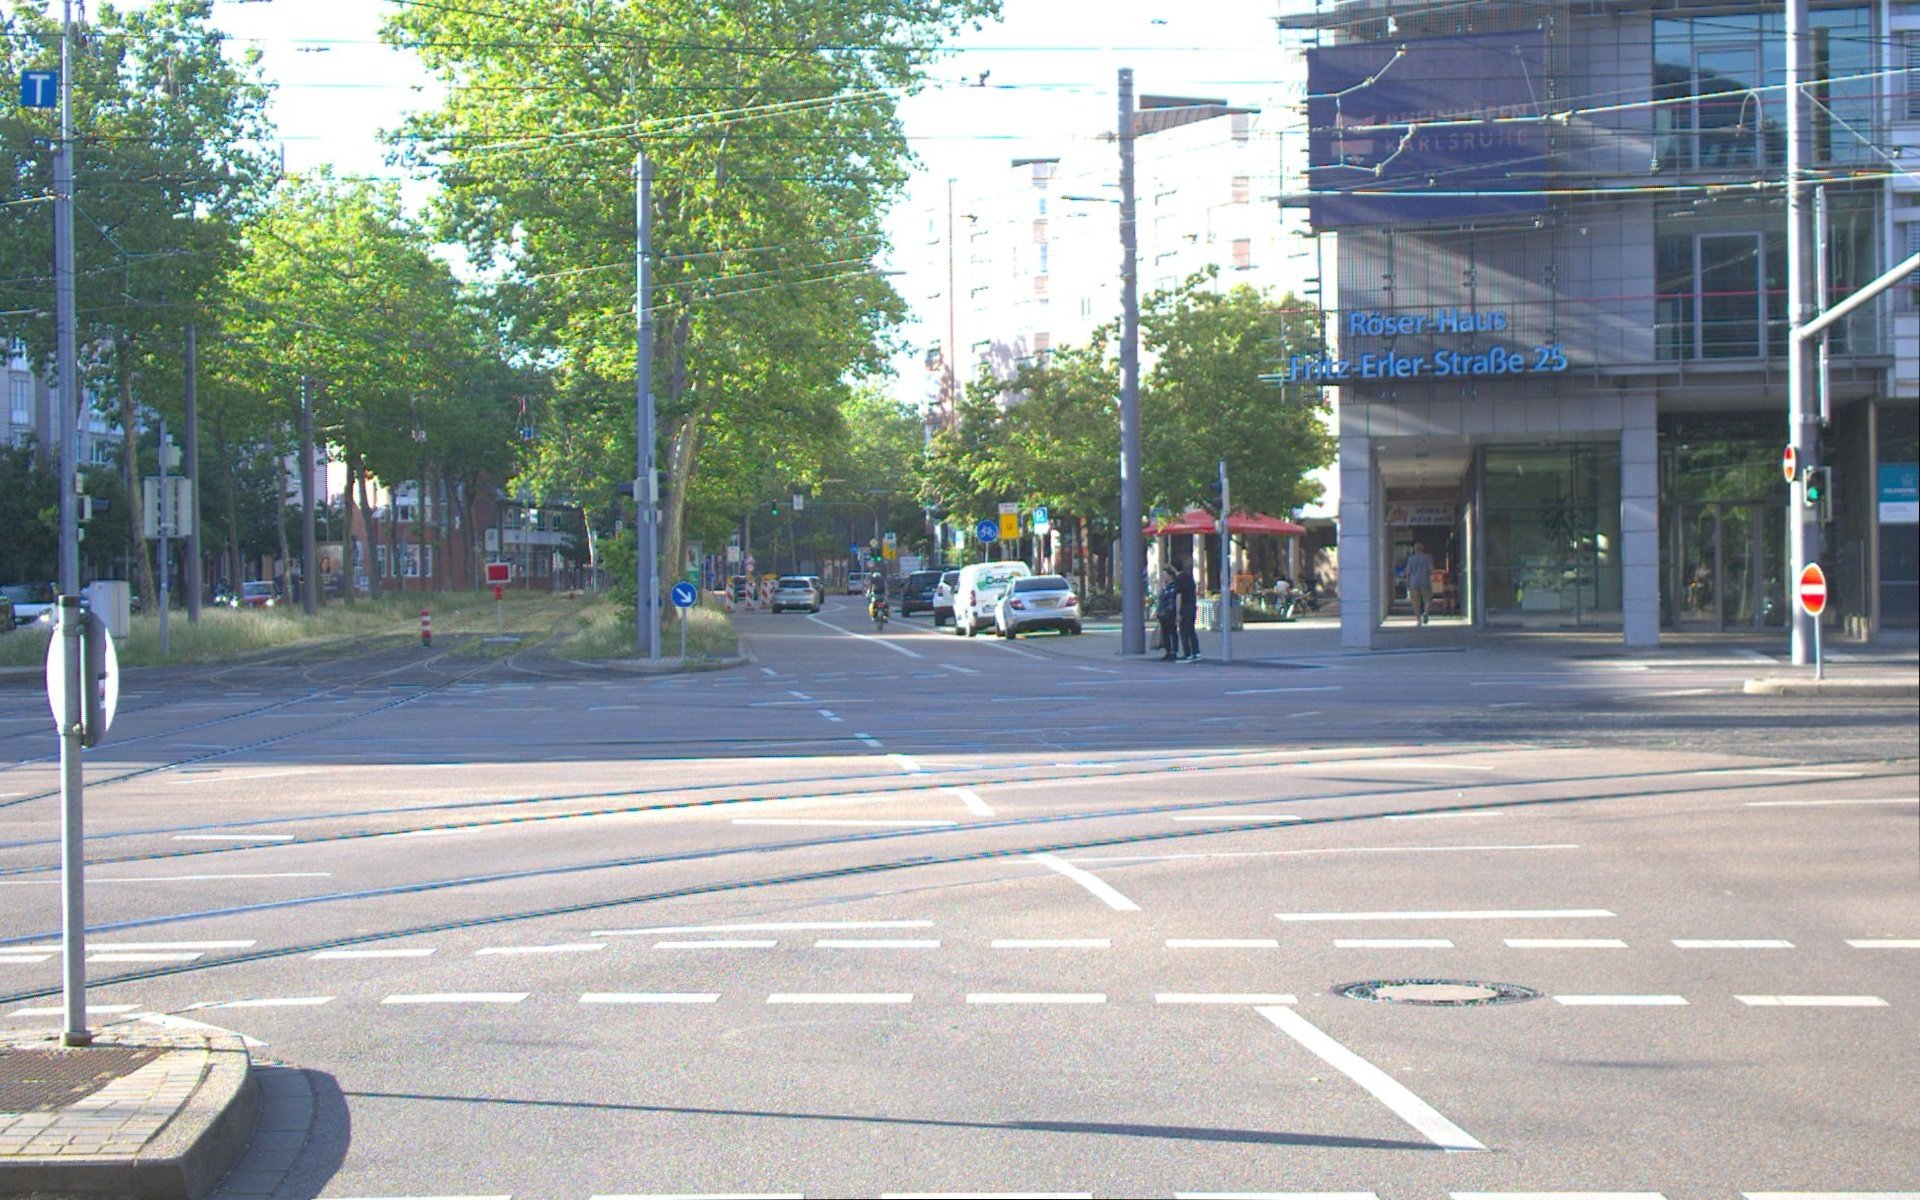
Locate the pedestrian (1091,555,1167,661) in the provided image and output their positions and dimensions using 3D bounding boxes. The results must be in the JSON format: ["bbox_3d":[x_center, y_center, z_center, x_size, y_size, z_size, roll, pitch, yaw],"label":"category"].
[{"bbox_3d":[3.129,0.144,63.838,1.342,1.944,1.011,-1,0,0],"label":"pedestrian"}]

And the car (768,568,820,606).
[{"bbox_3d":[-6.559,-0.535,136.232,1.748,1.413,4.000,0,1,2],"label":"car"}]

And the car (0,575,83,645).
[{"bbox_3d":[-21.823,0.223,81.038,1.676,1.602,4.001,1,0,-7],"label":"car"}]

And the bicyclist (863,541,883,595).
[{"bbox_3d":[-2.396,-0.882,94.523,0.486,1.434,0.615,2,1,0],"label":"bicyclist"}]

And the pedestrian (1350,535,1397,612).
[{"bbox_3d":[11.962,-0.766,99.495,1.313,2.182,1.170,1,0,6],"label":"pedestrian"}]

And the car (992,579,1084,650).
[{"bbox_3d":[1.811,0.333,81.043,2.029,1.590,4.000,1,0,0],"label":"car"}]

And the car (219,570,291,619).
[{"bbox_3d":[-26.262,-0.230,128.138,1.844,1.777,4.000,-1,0,0],"label":"car"}]

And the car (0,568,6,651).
[{"bbox_3d":[-21.459,0.227,72.761,1.822,1.784,4.001,-1,0,-6],"label":"car"}]

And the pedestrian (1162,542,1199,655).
[{"bbox_3d":[3.930,-0.030,61.288,0.586,2.007,0.620,1,0,0],"label":"pedestrian"}]

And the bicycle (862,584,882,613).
[{"bbox_3d":[-2.416,-0.045,94.541,0.490,0.786,1.862,0,0,0],"label":"bicycle"}]

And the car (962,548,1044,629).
[{"bbox_3d":[1.066,-0.287,87.941,1.993,2.007,4.000,1,0,0],"label":"car"}]

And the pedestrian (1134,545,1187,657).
[{"bbox_3d":[3.641,0.014,62.483,0.849,2.007,0.708,1,0,-3],"label":"pedestrian"}]

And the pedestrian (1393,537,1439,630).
[{"bbox_3d":[9.908,-0.351,74.674,0.869,2.007,0.793,1,-1,0],"label":"pedestrian"}]

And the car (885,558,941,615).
[{"bbox_3d":[-1.691,-0.469,124.879,1.993,2.007,4.000,1,0,0],"label":"car"}]
